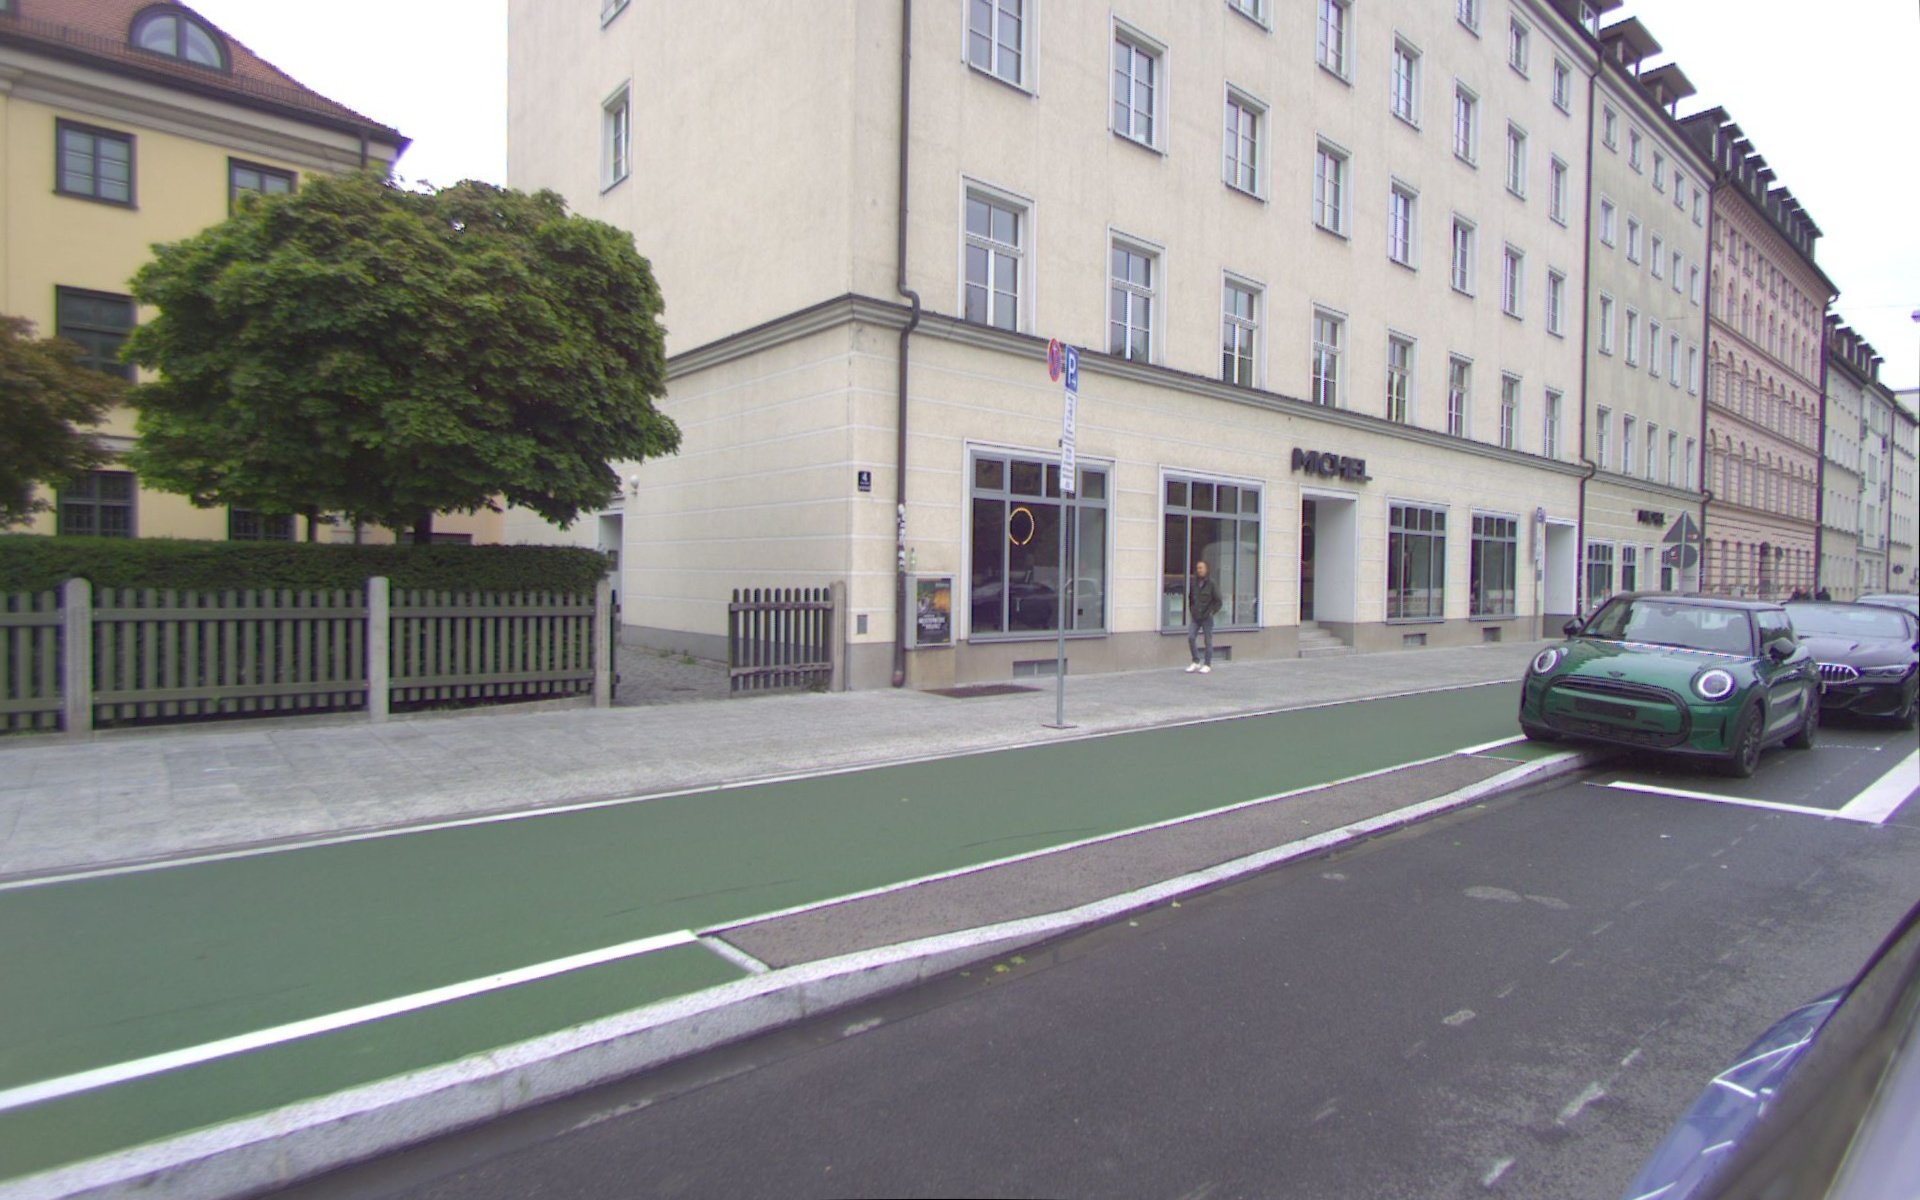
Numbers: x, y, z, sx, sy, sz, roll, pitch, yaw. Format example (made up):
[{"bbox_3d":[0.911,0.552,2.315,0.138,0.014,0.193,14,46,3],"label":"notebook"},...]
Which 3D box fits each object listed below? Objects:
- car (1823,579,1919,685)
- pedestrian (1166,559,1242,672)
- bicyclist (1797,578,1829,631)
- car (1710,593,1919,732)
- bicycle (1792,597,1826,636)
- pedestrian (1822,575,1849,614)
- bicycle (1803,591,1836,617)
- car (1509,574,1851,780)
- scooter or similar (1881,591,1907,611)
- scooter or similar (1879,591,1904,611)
[{"bbox_3d":[15.801,0.489,16.628,4.386,1.498,1.812,0,5,-42],"label":"car"},{"bbox_3d":[3.847,0.217,15.975,0.846,1.710,0.780,0,2,-40],"label":"pedestrian"},{"bbox_3d":[24.153,0.119,28.660,0.631,1.486,0.643,2,1,43],"label":"bicyclist"},{"bbox_3d":[11.121,0.628,12.584,4.635,1.425,1.830,0,0,-39],"label":"car"},{"bbox_3d":[24.086,0.447,28.700,0.630,1.050,1.987,2,2,43],"label":"bicycle"},{"bbox_3d":[40.770,-0.263,47.113,0.818,1.767,0.795,0,1,-40],"label":"pedestrian"},{"bbox_3d":[40.838,0.188,48.092,1.690,1.191,0.558,0,1,-26],"label":"bicycle"},{"bbox_3d":[6.793,0.560,9.421,3.761,1.540,1.679,0,0,-39],"label":"car"},{"bbox_3d":[58.214,0.070,63.058,1.064,1.207,0.451,1,1,21],"label":"scooter or similar"},{"bbox_3d":[59.032,0.070,64.125,1.059,1.207,0.436,1,1,10],"label":"scooter or similar"}]
